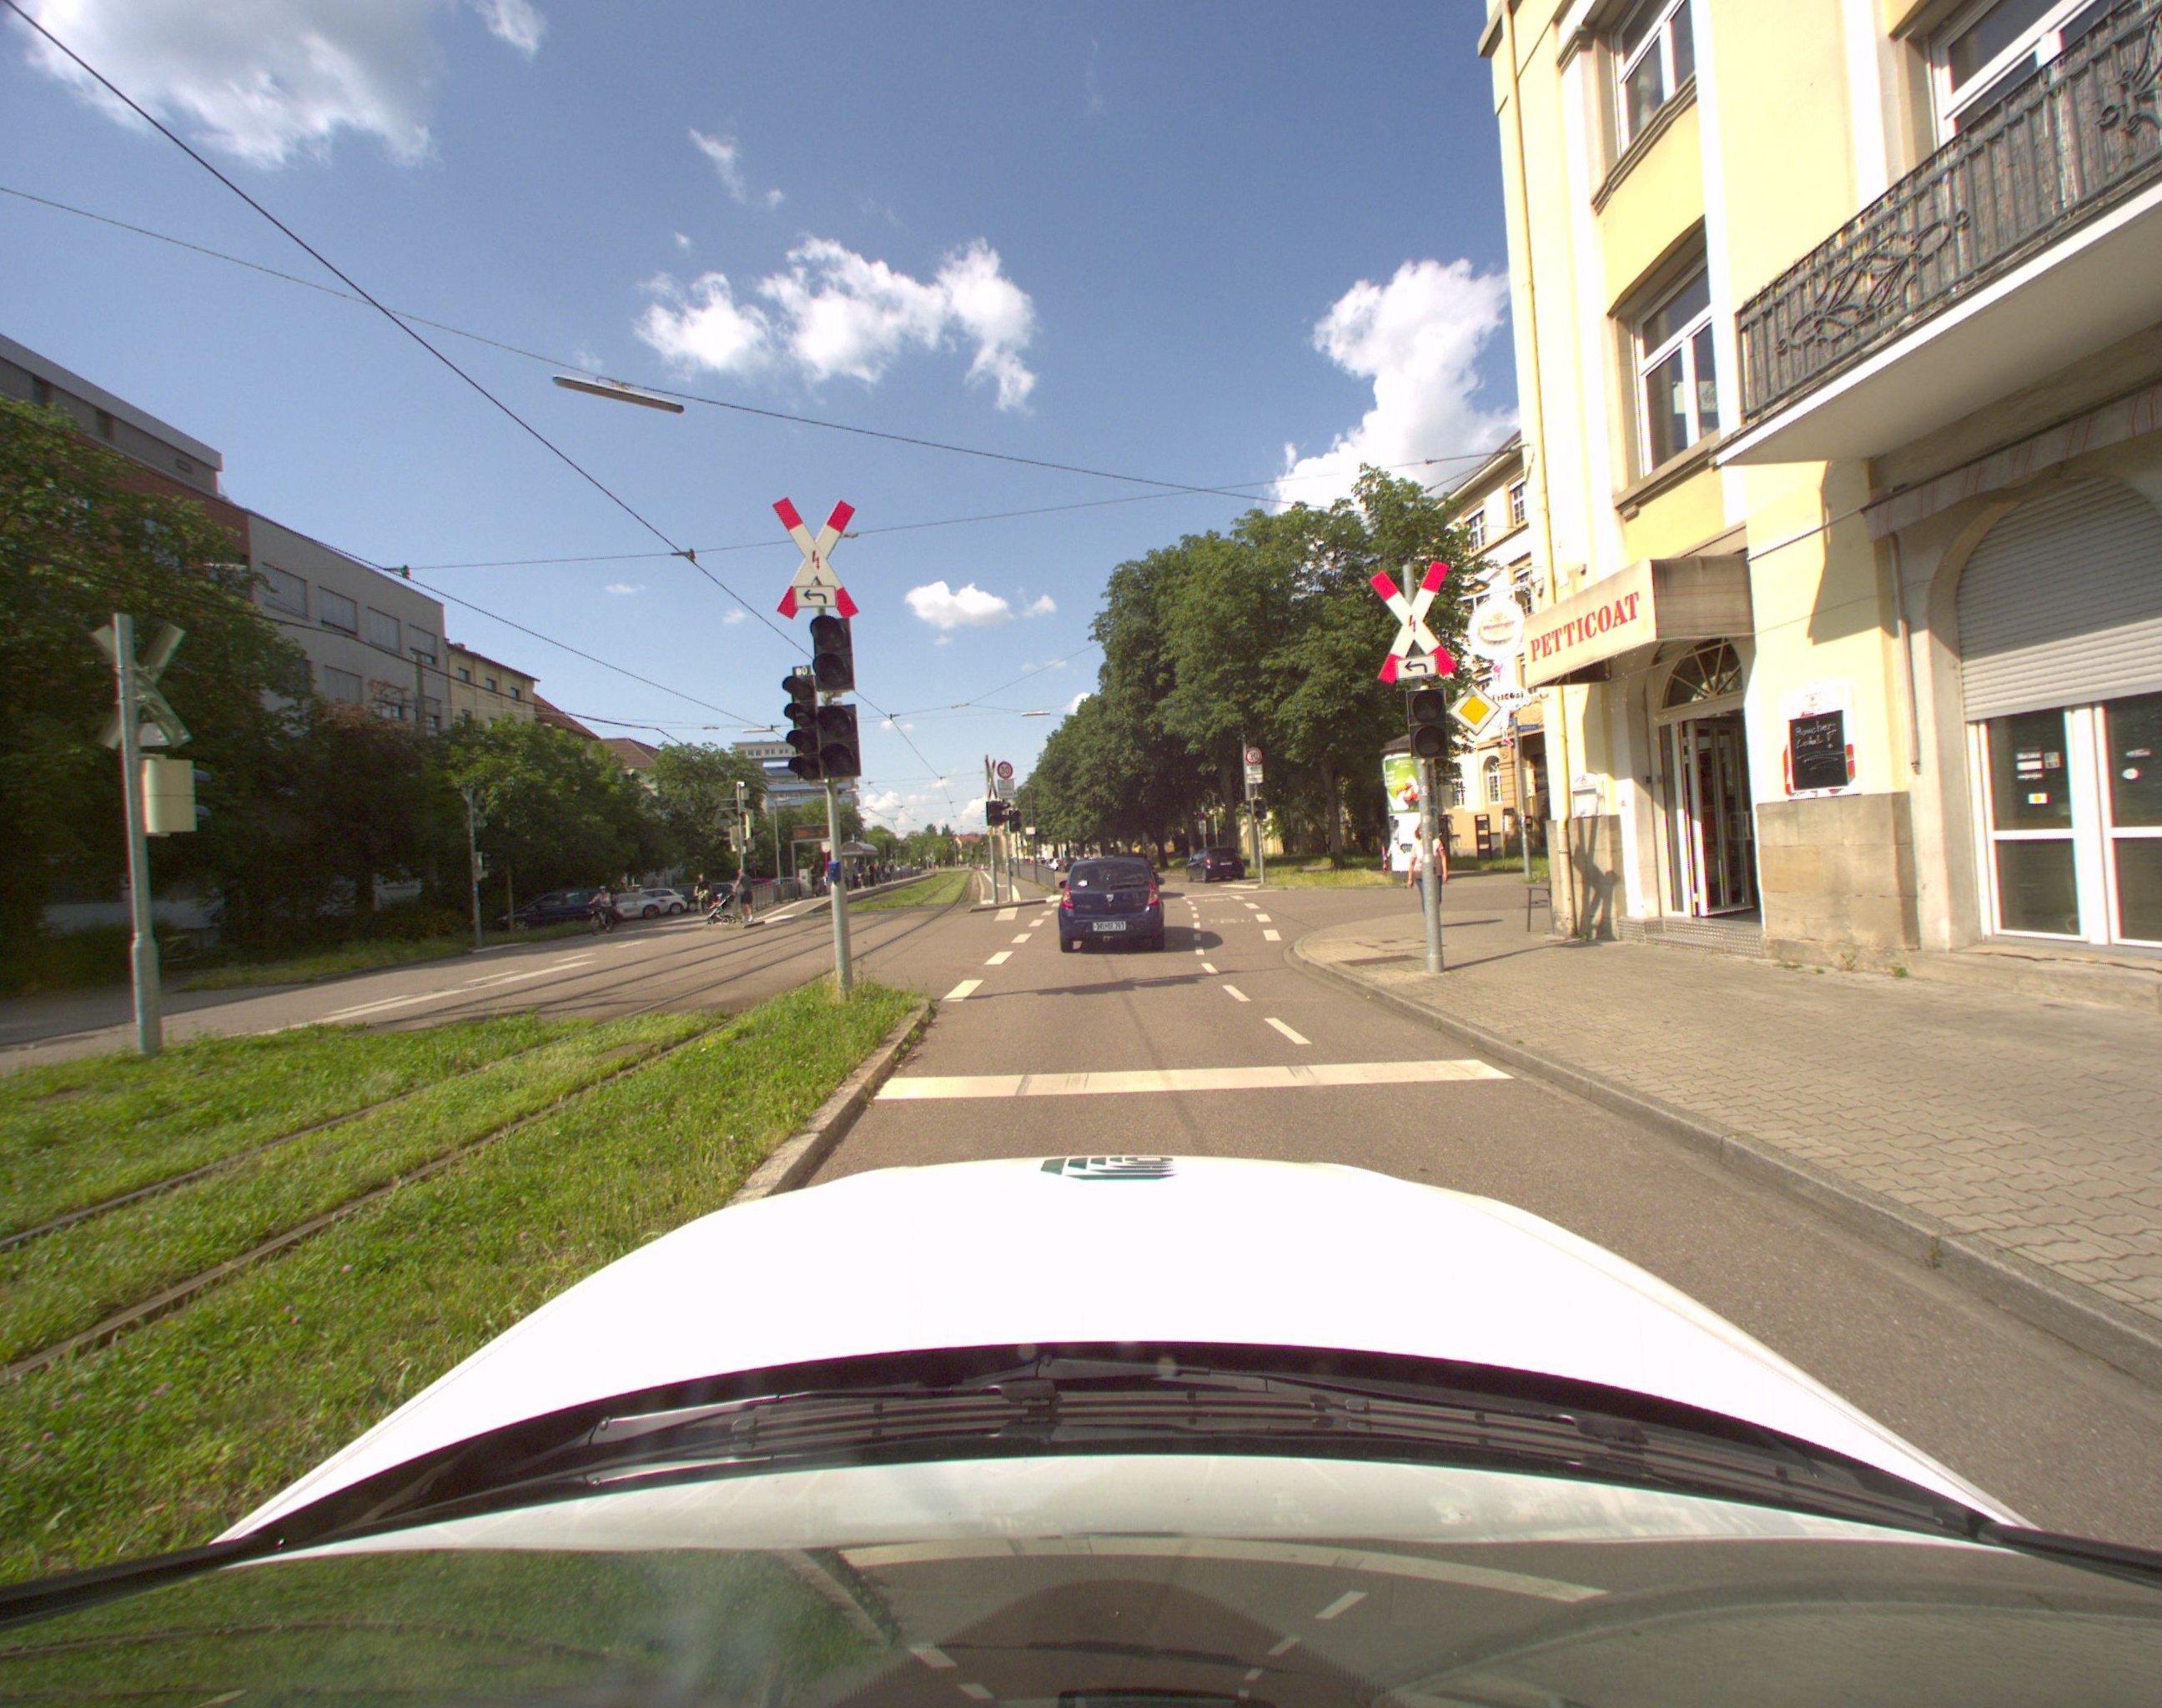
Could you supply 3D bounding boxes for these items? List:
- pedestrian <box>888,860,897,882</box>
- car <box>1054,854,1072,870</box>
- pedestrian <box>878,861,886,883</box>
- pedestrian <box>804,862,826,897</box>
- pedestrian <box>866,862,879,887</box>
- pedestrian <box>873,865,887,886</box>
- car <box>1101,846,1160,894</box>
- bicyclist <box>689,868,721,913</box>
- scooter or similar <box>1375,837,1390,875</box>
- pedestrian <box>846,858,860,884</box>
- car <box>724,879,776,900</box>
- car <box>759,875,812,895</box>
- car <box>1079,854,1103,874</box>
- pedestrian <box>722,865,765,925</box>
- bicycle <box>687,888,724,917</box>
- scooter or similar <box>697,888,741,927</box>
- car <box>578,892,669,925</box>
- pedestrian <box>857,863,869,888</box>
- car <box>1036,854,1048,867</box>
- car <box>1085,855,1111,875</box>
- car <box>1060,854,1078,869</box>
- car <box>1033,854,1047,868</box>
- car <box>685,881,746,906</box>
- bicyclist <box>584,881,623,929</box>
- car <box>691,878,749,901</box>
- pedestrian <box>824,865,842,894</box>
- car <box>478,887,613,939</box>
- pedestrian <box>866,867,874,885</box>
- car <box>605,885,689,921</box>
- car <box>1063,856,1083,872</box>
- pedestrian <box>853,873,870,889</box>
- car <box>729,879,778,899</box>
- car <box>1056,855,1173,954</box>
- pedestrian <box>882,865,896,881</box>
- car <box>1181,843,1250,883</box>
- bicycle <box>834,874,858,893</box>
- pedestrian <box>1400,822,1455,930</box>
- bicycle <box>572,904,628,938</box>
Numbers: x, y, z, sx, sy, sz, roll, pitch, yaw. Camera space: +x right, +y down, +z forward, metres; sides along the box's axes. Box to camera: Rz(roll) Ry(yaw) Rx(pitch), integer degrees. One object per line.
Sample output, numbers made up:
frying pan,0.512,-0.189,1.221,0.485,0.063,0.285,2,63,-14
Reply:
pedestrian,-17.682,1.563,76.218,0.661,2.013,0.800,-4,0,-15
car,-2.185,0.952,97.871,1.616,1.750,3.991,-4,0,-6
pedestrian,-16.023,1.480,65.697,0.489,1.712,0.461,-5,0,-17
pedestrian,-13.800,1.309,42.288,0.705,1.726,0.672,-4,0,35
pedestrian,-15.119,1.489,59.030,0.602,1.766,0.639,-4,0,2
pedestrian,-14.721,1.577,59.716,0.648,1.426,0.566,-5,0,30
car,1.547,0.455,26.056,1.693,1.368,3.517,-2,1,2
bicyclist,-17.707,1.695,38.407,0.949,2.013,1.568,-4,0,-14
scooter or similar,9.724,0.041,26.289,0.303,1.189,1.167,-4,0,16
pedestrian,-15.078,1.112,53.885,0.654,1.692,0.655,-5,0,-7
car,-25.152,2.685,61.931,1.437,1.309,3.268,-4,0,37
car,-26.033,2.681,71.790,1.694,1.367,4.025,-5,0,42
car,0.839,0.859,71.679,1.846,1.515,3.997,-4,0,-2
pedestrian,-10.720,1.283,25.892,0.871,1.775,1.000,-6,0,-9
bicycle,-17.683,2.275,38.391,1.156,1.177,1.779,-5,-1,-14
scooter or similar,-11.349,1.662,25.549,0.953,1.064,0.795,-6,0,-8
car,-21.640,2.567,38.595,1.525,1.236,3.410,-4,0,44
pedestrian,-15.491,1.503,57.973,0.592,1.736,0.556,-5,0,-3
car,-5.943,0.982,122.816,1.664,1.772,3.996,-4,0,-3
car,1.339,0.859,66.948,1.856,1.445,3.997,-6,0,-2
car,-1.302,0.793,89.624,1.823,1.537,3.997,-5,0,-2
car,-5.834,0.967,116.703,1.825,1.761,3.997,-4,0,-2
car,-23.755,2.536,52.975,1.437,1.309,3.268,-4,0,35
bicyclist,-16.845,1.797,28.758,0.783,1.581,0.862,-5,0,-4
car,-24.509,2.408,55.411,1.437,1.309,3.268,-4,0,37
pedestrian,-14.394,1.477,47.329,0.661,1.569,0.686,-5,0,1
car,-21.361,2.328,32.611,1.704,1.640,4.158,-4,0,44
pedestrian,-16.959,1.761,65.548,0.489,1.452,0.461,-5,0,-17
car,-22.074,2.470,41.458,3.409,1.505,1.525,-4,0,-45
car,-0.831,1.063,84.072,1.856,1.445,3.997,-5,-1,-2
pedestrian,-14.935,1.840,55.493,0.923,0.988,0.796,-5,-1,-5
car,-25.947,2.740,64.535,1.437,1.309,3.268,-4,0,37
car,0.587,0.781,14.461,1.761,1.462,3.777,-2,0,2
pedestrian,-18.573,1.879,78.769,1.033,1.437,0.698,-6,0,-22
car,5.668,0.383,34.725,1.764,1.433,3.893,-5,0,-8
bicycle,-13.635,1.703,47.221,0.683,0.974,1.772,-6,0,3
pedestrian,5.543,0.344,13.068,0.666,1.648,0.767,-5,-1,21
bicycle,-16.860,2.340,28.615,0.679,0.971,2.176,-5,0,-3
